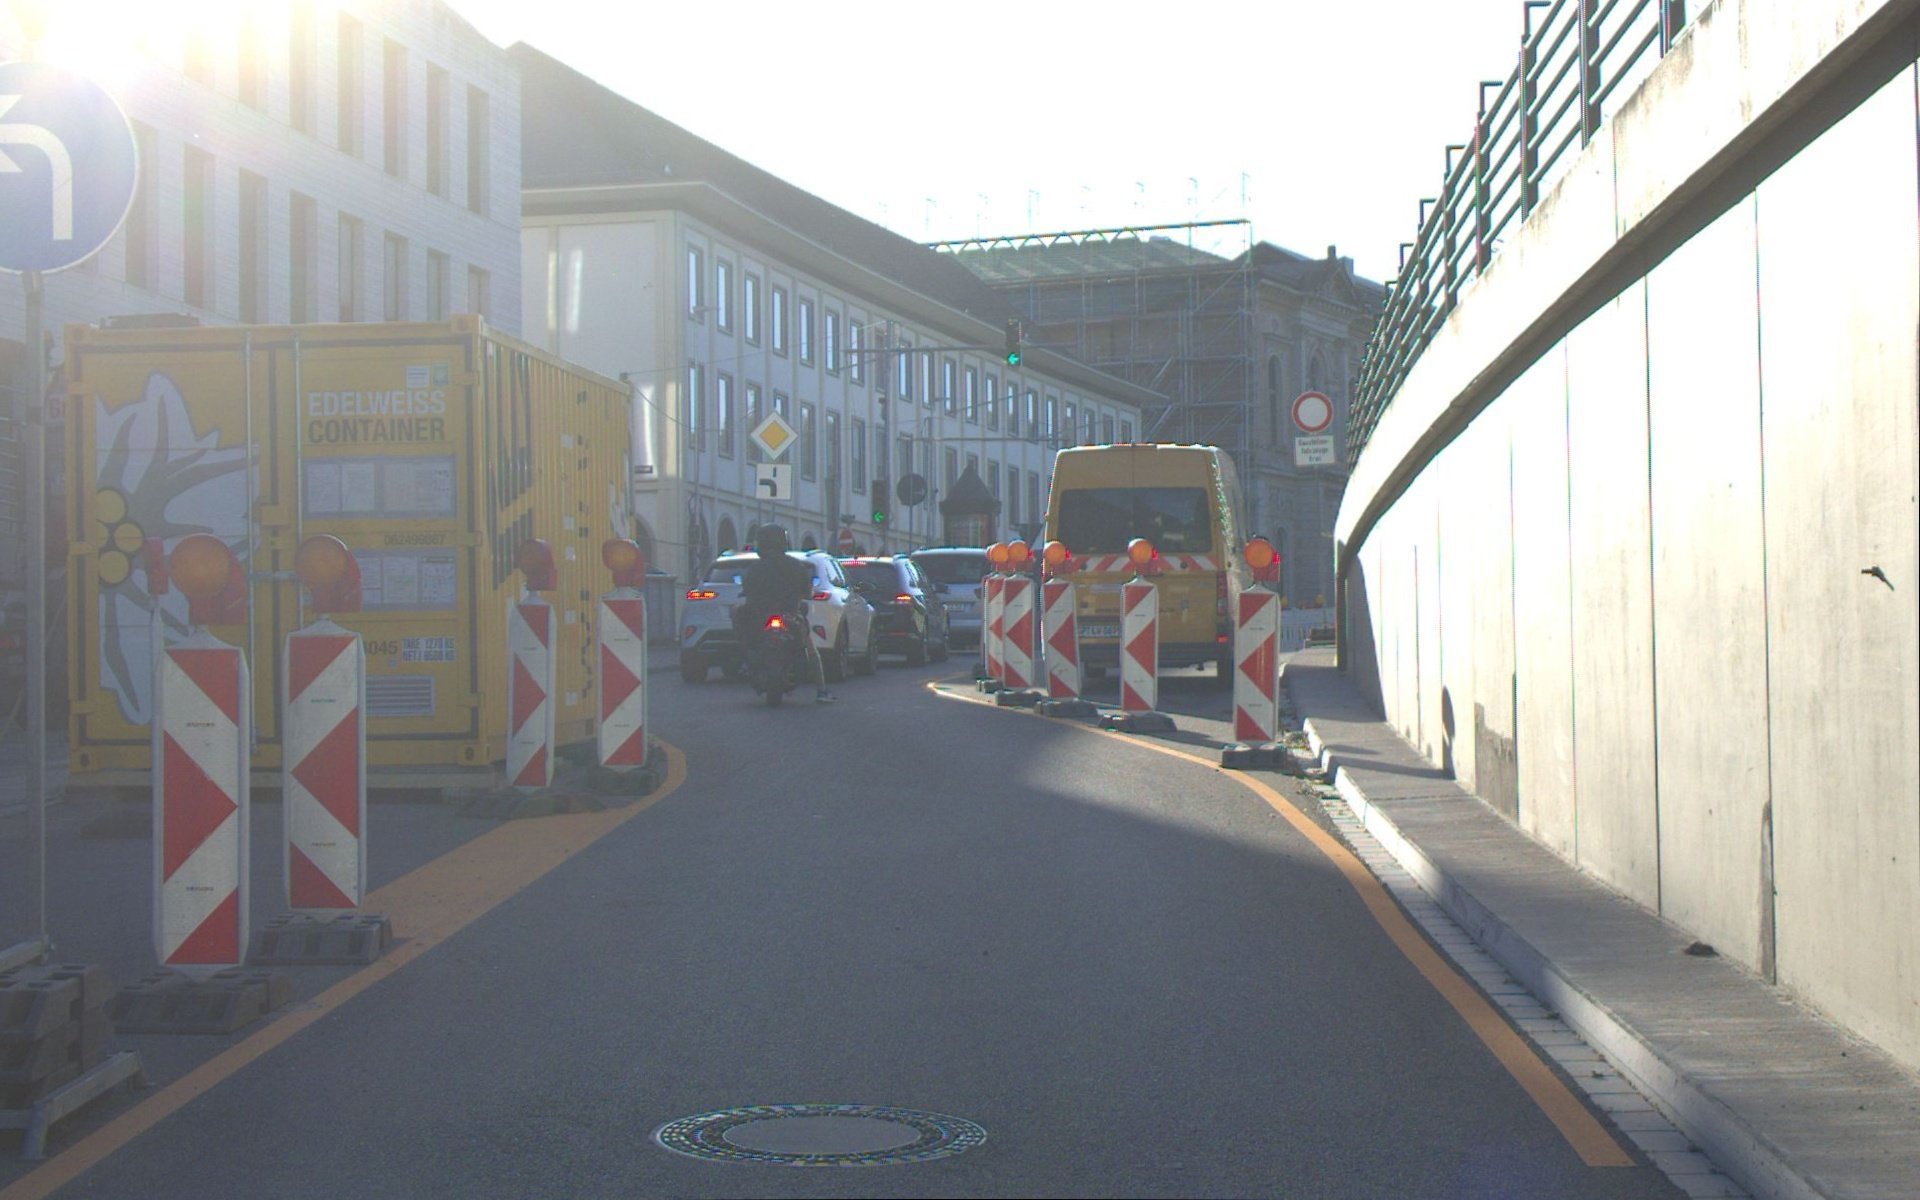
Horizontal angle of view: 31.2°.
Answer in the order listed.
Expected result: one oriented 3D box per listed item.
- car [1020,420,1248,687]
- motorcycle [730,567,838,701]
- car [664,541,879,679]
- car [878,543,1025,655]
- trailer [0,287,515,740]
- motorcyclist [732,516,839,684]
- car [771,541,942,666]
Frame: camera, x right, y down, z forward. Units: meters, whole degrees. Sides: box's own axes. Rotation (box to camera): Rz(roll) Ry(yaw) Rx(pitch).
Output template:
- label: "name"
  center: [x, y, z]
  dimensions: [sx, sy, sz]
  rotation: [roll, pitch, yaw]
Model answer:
- label: "car"
  center: [2.011, -0.477, 37.505]
  dimensions: [2.112, 2.616, 6.985]
  rotation: [-1, 0, 6]
- label: "motorcycle"
  center: [-1.687, 0.301, 32.596]
  dimensions: [0.905, 1.179, 2.579]
  rotation: [0, 1, -5]
- label: "car"
  center: [-2.101, 0.074, 39.314]
  dimensions: [1.859, 1.467, 3.999]
  rotation: [1, 1, 6]
- label: "car"
  center: [-0.091, -0.041, 54.829]
  dimensions: [1.804, 1.715, 4.162]
  rotation: [0, 1, 8]
- label: "trailer"
  center: [-6.740, -0.753, 33.493]
  dimensions: [2.642, 3.656, 8.747]
  rotation: [-4, 0, 5]
- label: "motorcyclist"
  center: [-1.660, -0.011, 32.552]
  dimensions: [0.954, 1.554, 1.239]
  rotation: [0, 1, -5]
- label: "car"
  center: [-1.327, 0.085, 45.766]
  dimensions: [1.774, 1.545, 4.105]
  rotation: [-1, -1, 5]
